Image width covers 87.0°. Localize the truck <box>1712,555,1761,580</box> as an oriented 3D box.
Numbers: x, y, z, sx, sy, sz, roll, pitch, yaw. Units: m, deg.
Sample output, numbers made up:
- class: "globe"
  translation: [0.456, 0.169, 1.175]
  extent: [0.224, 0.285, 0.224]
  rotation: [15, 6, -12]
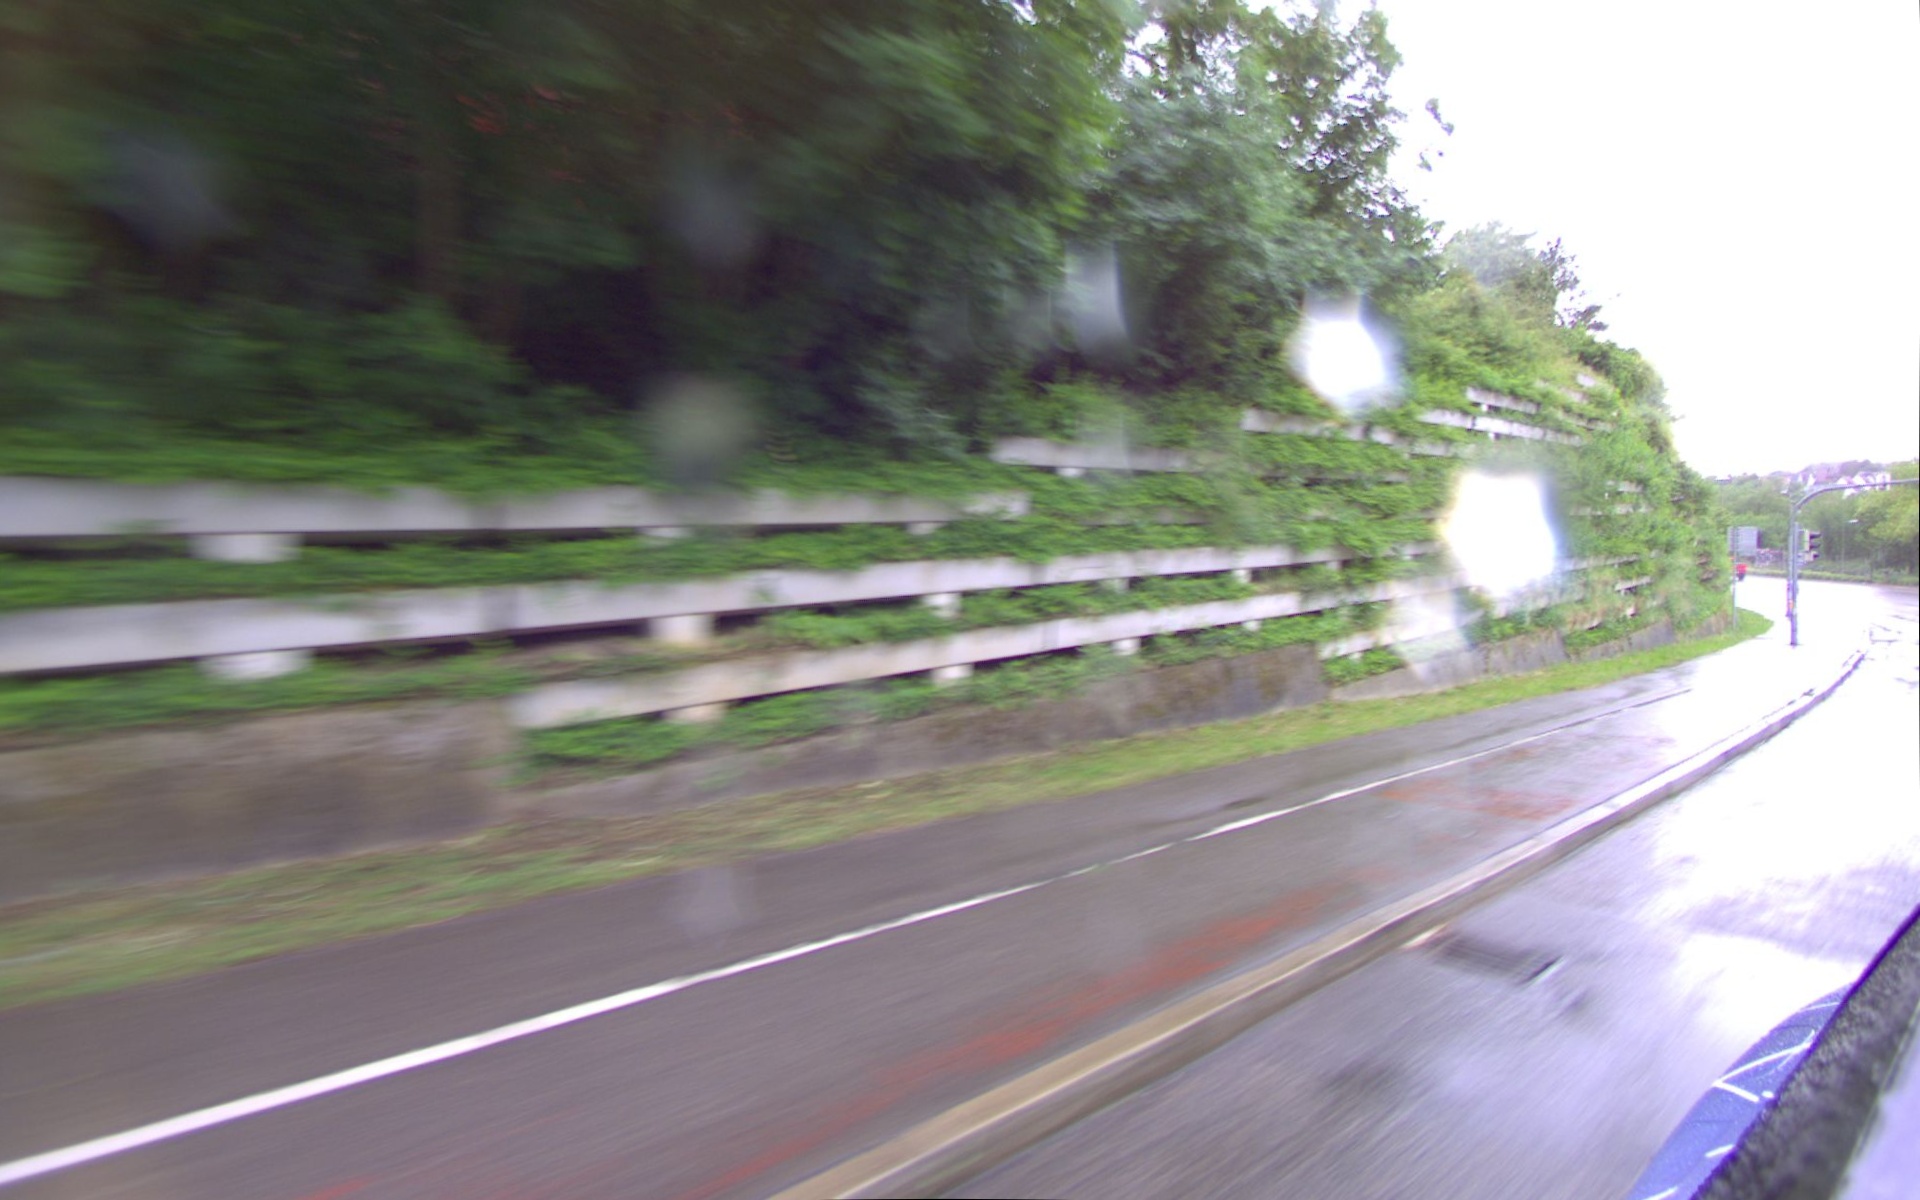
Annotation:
- class: "truck"
  translation: [67.711, -2.883, 88.348]
  extent: [1.976, 2.038, 5.303]
  rotation: [-1, 2, 21]
